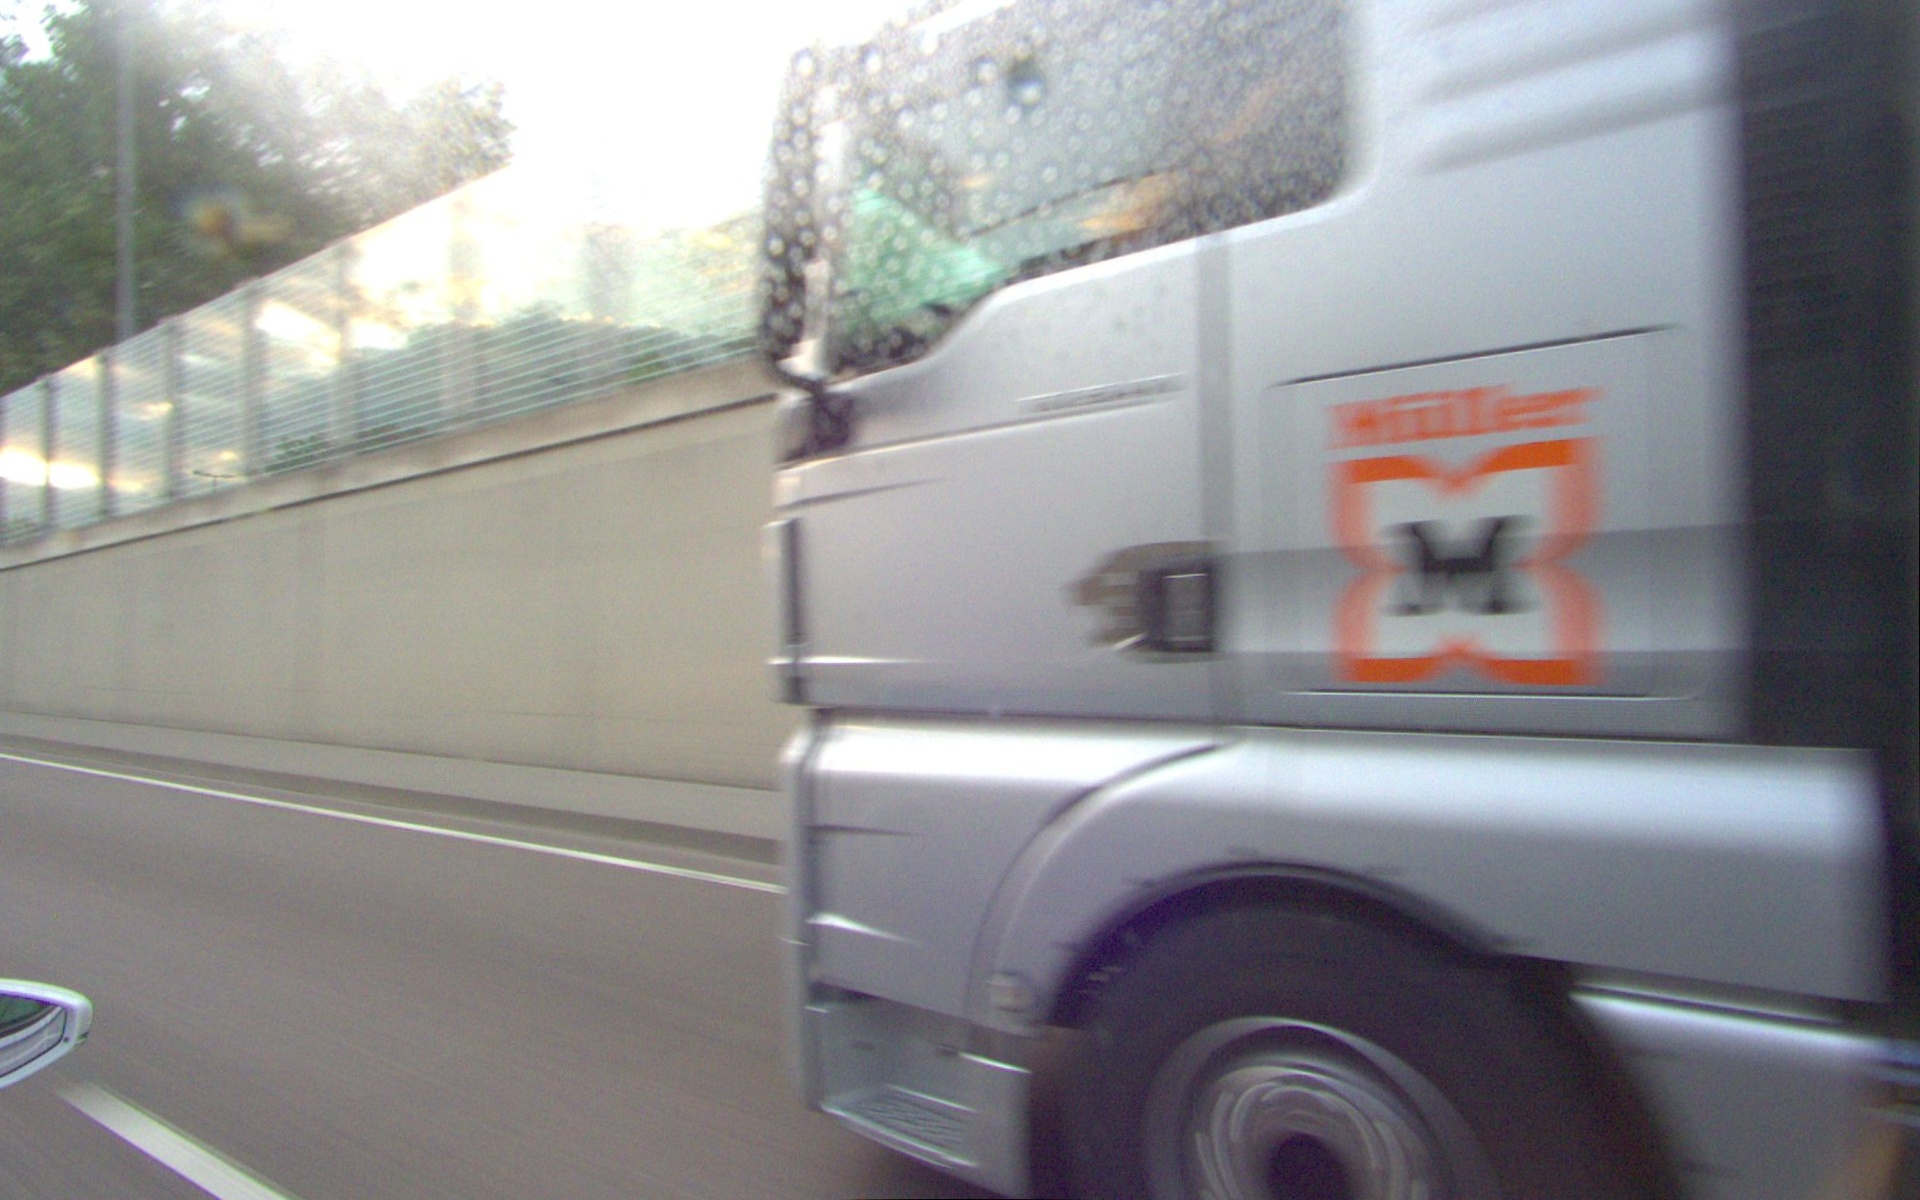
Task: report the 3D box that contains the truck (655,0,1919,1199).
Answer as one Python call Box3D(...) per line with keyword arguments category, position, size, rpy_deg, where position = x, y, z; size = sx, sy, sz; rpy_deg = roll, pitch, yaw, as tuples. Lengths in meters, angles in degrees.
Box3D(category="truck", position=(4.120, -0.493, 1.034), size=(9.770, 3.962, 2.884), rpy_deg=(-1, -3, 33))
